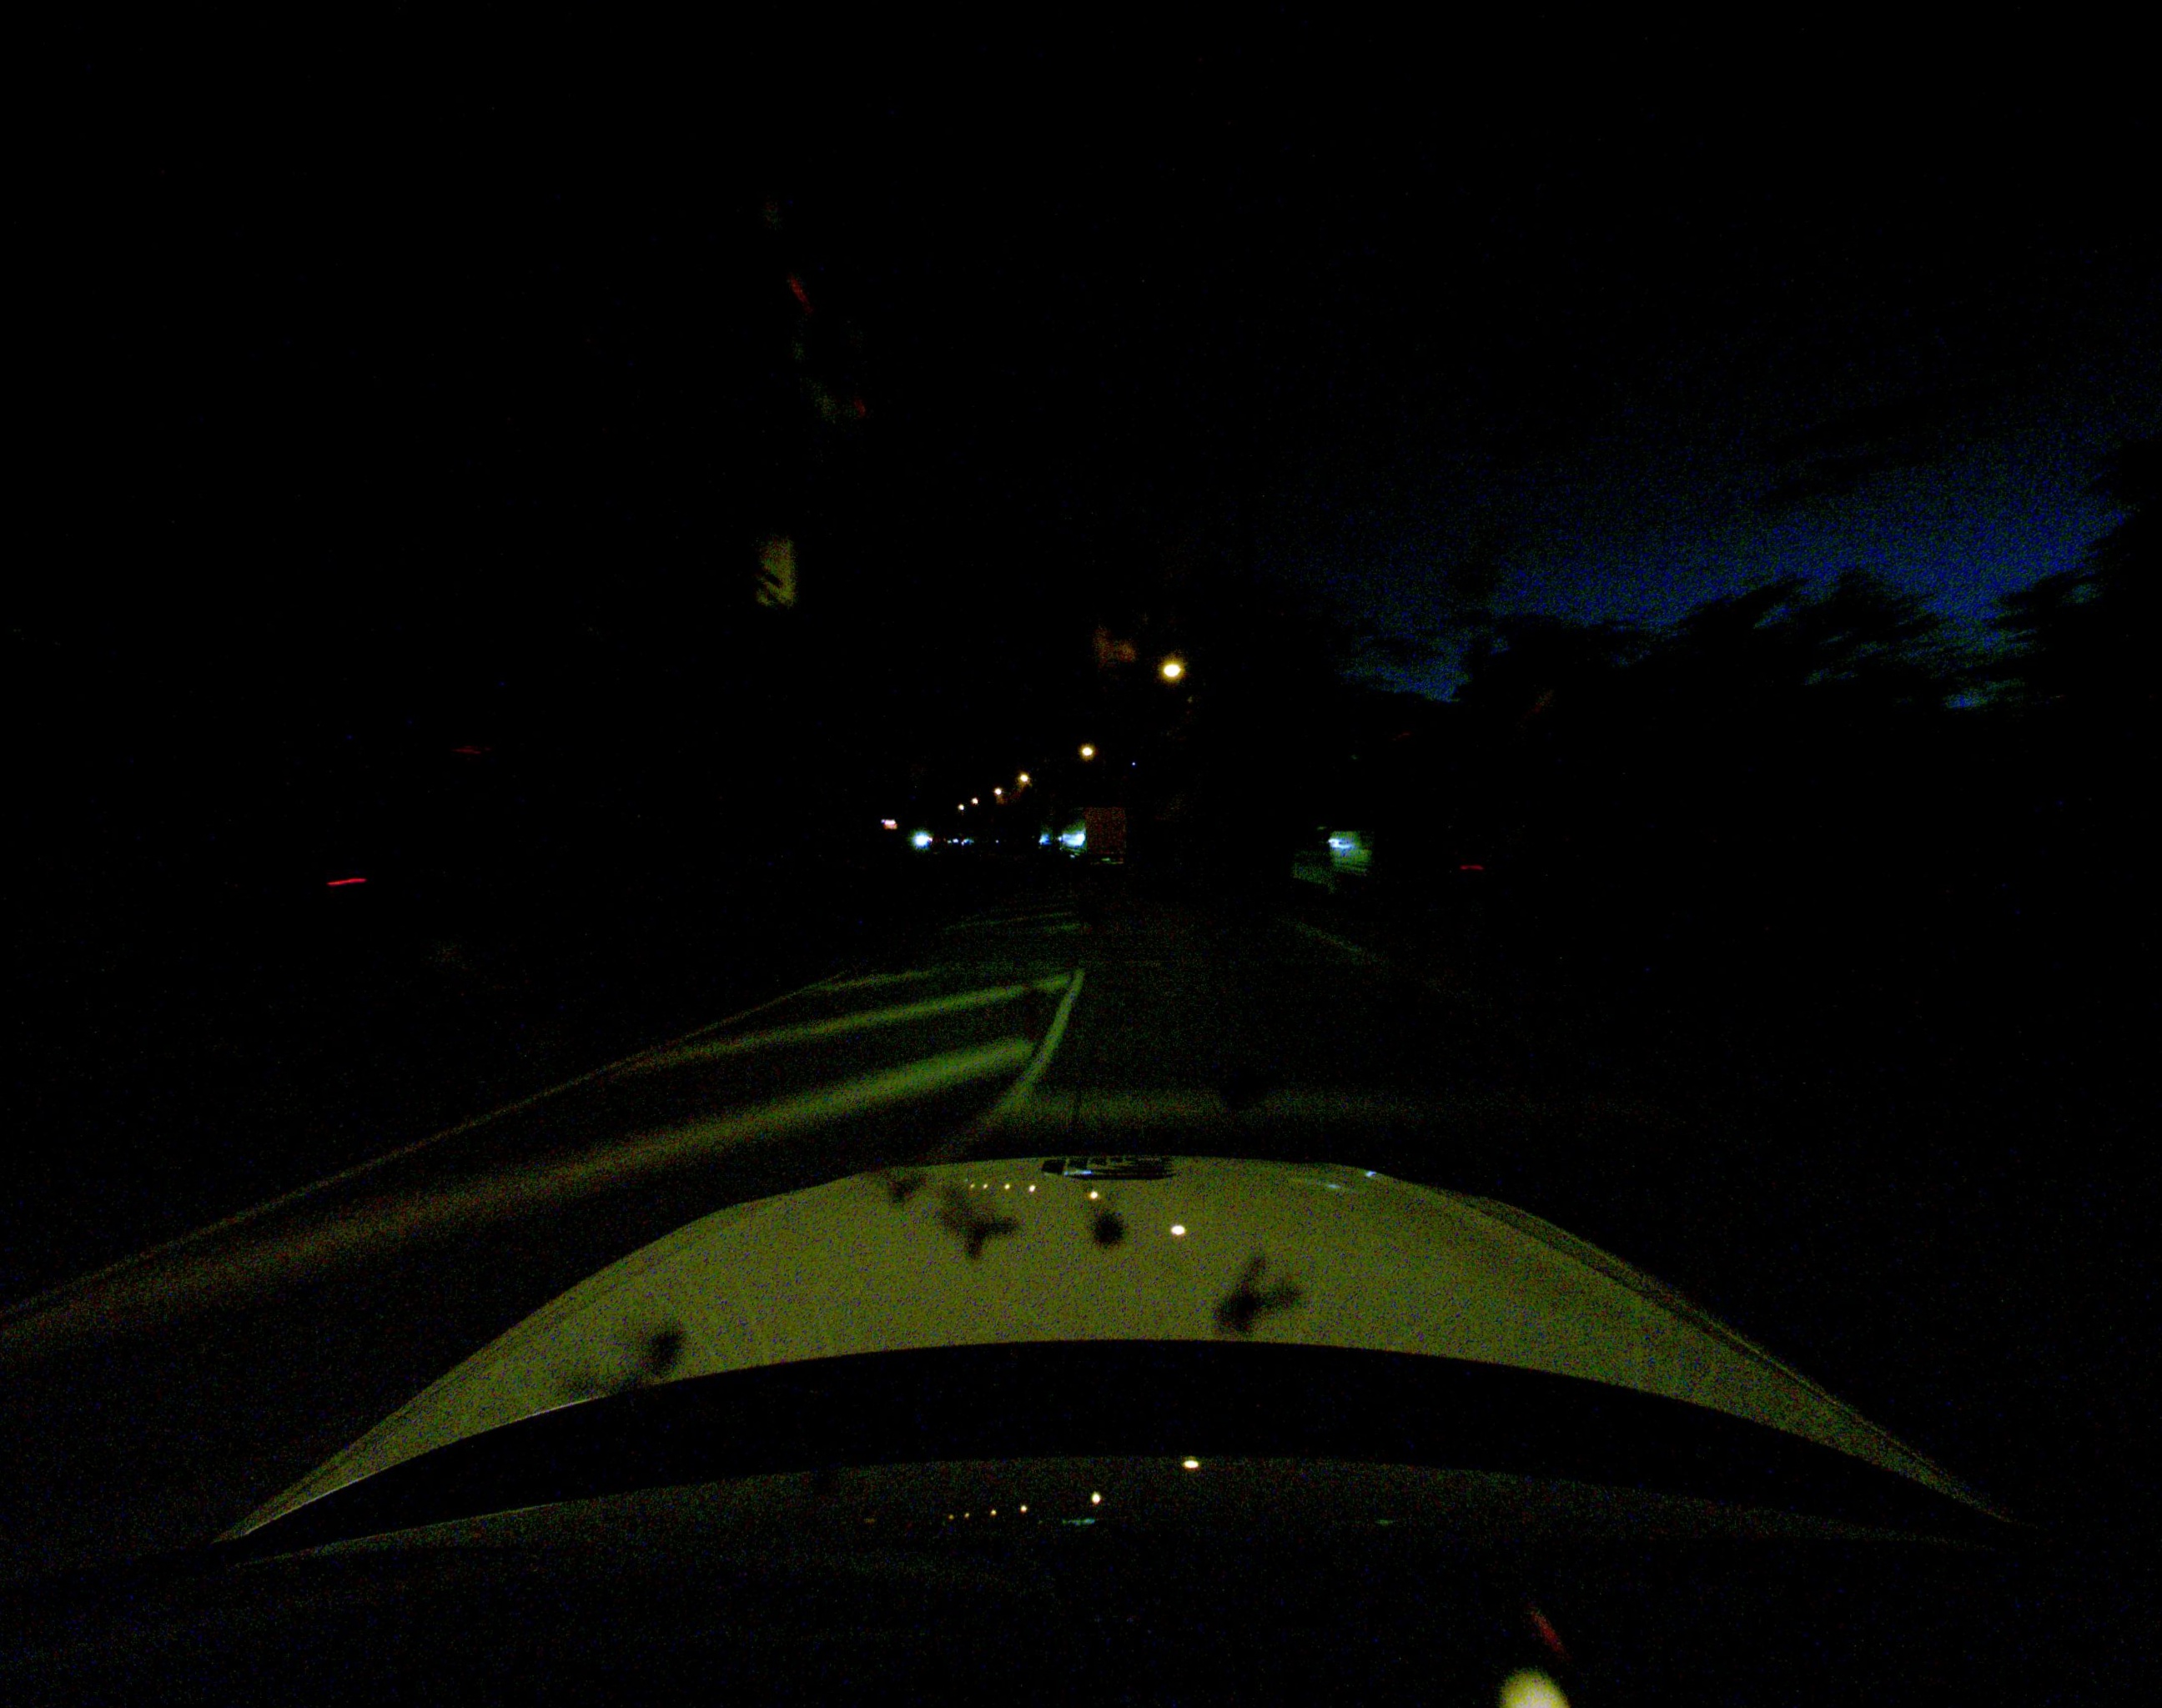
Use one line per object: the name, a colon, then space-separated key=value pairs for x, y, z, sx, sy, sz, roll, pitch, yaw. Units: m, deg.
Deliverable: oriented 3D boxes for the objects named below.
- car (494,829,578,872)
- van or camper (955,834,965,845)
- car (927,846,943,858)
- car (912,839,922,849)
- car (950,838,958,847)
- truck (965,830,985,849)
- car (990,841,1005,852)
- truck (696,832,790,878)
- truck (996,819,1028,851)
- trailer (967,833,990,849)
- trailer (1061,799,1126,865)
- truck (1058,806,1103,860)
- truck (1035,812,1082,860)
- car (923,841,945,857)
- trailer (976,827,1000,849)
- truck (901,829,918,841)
car: x=-26.904 y=-0.186 z=40.382 sx=1.997 sy=2.013 sz=4.664 roll=0 pitch=0 yaw=-15
van or camper: x=-28.276 y=-3.481 z=190.513 sx=1.995 sy=2.581 sz=4.895 roll=0 pitch=1 yaw=-12
car: x=-16.631 y=-0.248 z=92.858 sx=1.603 sy=1.354 sz=3.983 roll=0 pitch=1 yaw=-13
car: x=-32.543 y=-1.998 z=161.637 sx=1.995 sy=1.793 sz=3.983 roll=0 pitch=1 yaw=-12
car: x=-32.800 y=-2.977 z=210.324 sx=1.995 sy=2.145 sz=3.983 roll=0 pitch=1 yaw=-12
truck: x=-20.507 y=-2.772 z=157.667 sx=3.154 sy=3.463 sz=6.645 roll=-1 pitch=1 yaw=-12
car: x=-12.543 y=-1.139 z=122.054 sx=1.854 sy=1.519 sz=3.803 roll=-1 pitch=1 yaw=-12
truck: x=-14.905 y=0.019 z=36.260 sx=1.988 sy=1.900 sz=5.315 roll=1 pitch=0 yaw=-1
truck: x=-9.179 y=-2.400 z=107.173 sx=3.519 sy=3.983 sz=10.312 roll=-1 pitch=1 yaw=-9
trailer: x=-18.974 y=-2.345 z=150.725 sx=3.187 sy=2.748 sz=10.670 roll=-1 pitch=1 yaw=-12
trailer: x=0.617 y=-1.450 z=57.323 sx=2.805 sy=3.983 sz=13.945 roll=-1 pitch=1 yaw=-6
truck: x=-0.143 y=-1.625 z=64.149 sx=2.827 sy=3.983 sz=6.037 roll=-1 pitch=1 yaw=-6
truck: x=-2.220 y=-1.583 z=74.348 sx=2.830 sy=3.983 sz=10.308 roll=-1 pitch=1 yaw=-9
car: x=-15.761 y=-0.510 z=87.193 sx=1.996 sy=1.636 sz=4.752 roll=0 pitch=0 yaw=-14
trailer: x=-15.448 y=-2.584 z=134.851 sx=2.691 sy=3.464 sz=7.770 roll=0 pitch=0 yaw=-15
truck: x=-50.089 y=-5.557 z=237.719 sx=3.901 sy=3.621 sz=8.211 roll=0 pitch=1 yaw=-18
